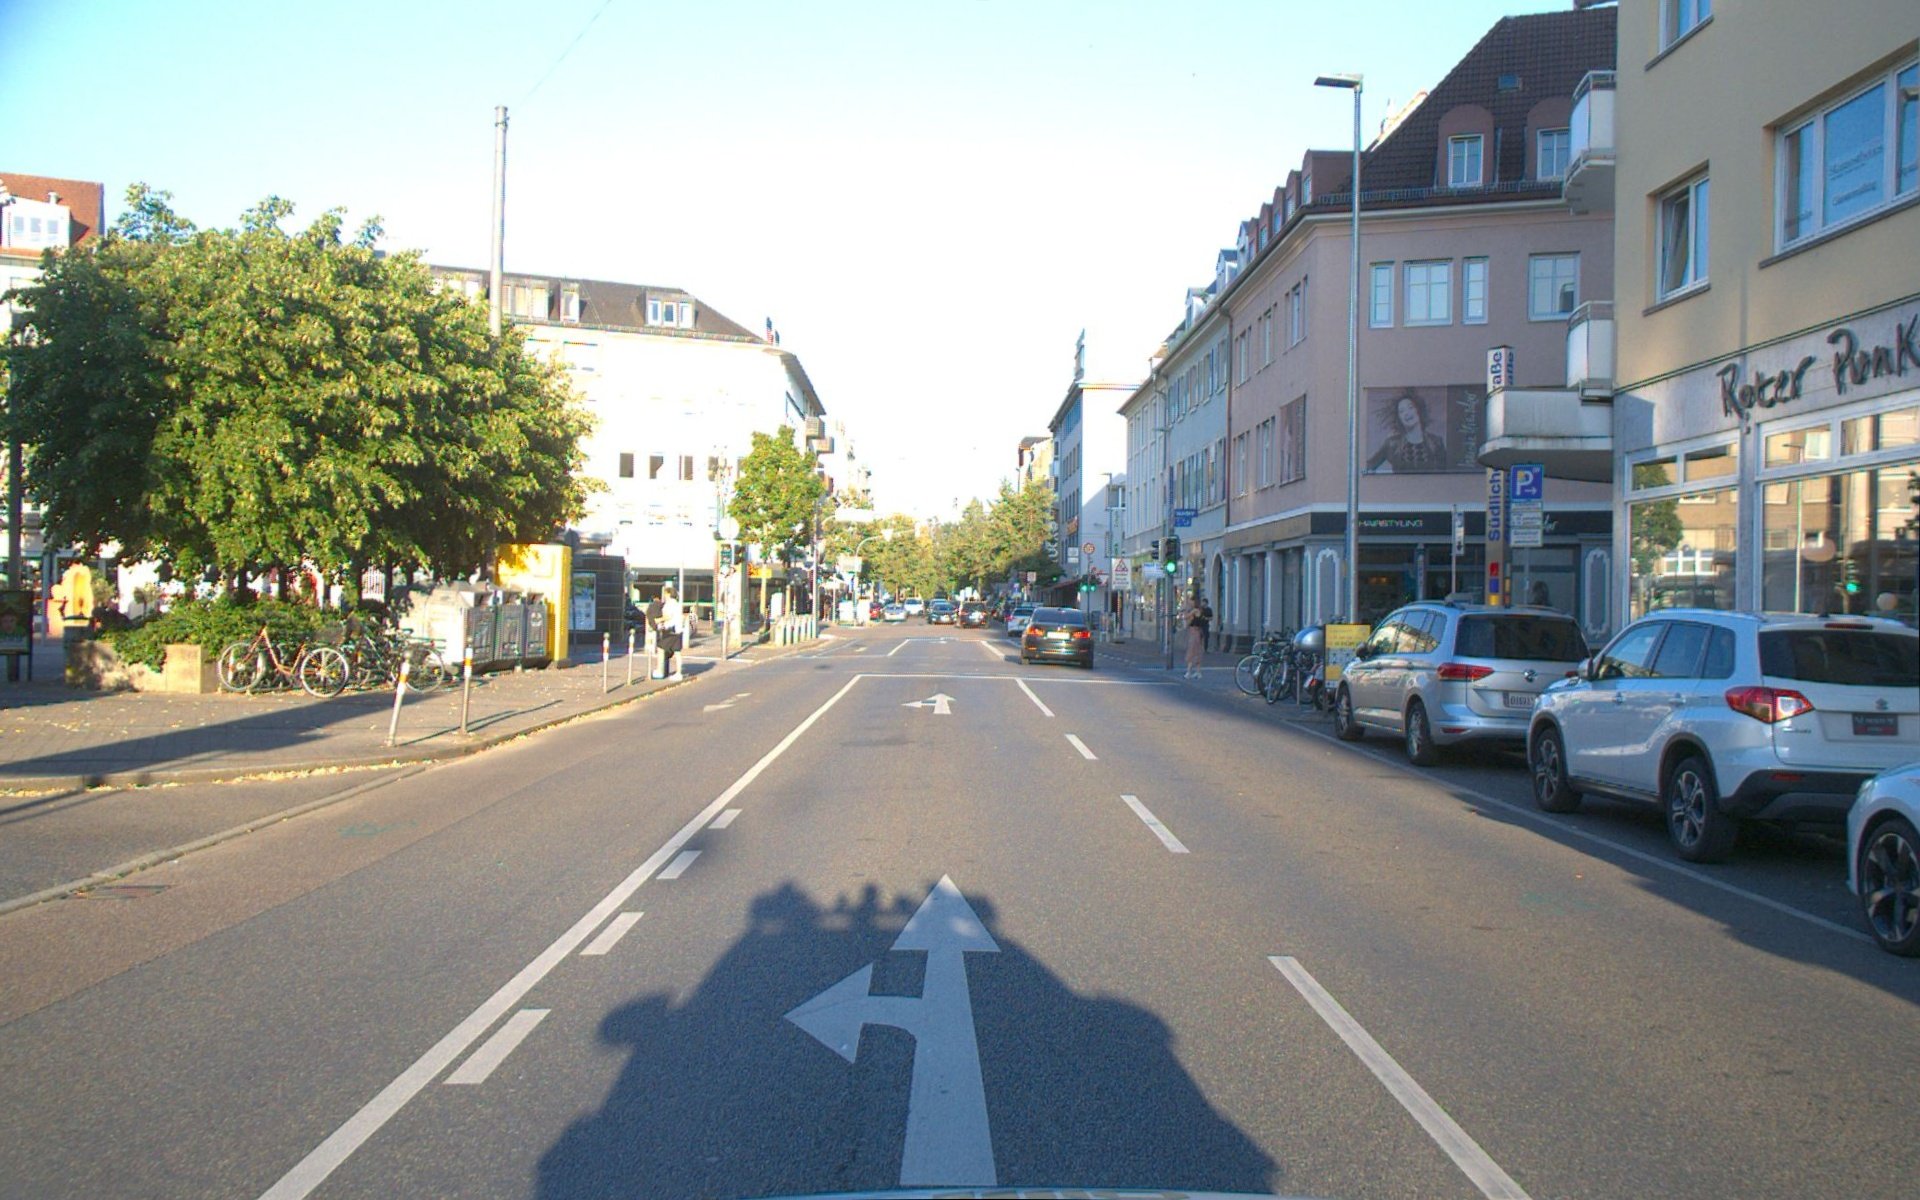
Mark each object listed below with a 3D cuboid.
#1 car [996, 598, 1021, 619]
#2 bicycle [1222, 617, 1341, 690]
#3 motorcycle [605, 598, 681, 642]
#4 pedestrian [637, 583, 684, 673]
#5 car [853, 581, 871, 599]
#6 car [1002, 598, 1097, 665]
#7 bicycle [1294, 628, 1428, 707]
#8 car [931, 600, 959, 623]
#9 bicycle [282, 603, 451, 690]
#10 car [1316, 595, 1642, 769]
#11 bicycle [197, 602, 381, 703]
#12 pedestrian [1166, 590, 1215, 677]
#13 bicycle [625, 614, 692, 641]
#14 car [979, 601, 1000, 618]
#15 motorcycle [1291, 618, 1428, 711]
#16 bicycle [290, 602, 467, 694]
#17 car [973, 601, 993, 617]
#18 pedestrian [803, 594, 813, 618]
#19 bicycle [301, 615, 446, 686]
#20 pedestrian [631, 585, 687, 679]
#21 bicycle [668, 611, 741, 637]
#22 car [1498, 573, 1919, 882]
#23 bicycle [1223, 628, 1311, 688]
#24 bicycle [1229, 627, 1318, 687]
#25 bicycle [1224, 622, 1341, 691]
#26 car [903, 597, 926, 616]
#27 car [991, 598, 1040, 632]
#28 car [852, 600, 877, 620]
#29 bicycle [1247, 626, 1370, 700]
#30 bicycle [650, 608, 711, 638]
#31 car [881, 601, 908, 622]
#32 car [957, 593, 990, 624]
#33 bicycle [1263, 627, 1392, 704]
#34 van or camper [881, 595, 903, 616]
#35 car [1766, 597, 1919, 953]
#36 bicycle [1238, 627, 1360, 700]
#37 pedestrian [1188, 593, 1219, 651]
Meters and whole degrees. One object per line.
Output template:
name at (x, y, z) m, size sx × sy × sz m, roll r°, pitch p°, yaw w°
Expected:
car at (3.945, 0.682, 135.254) m, size 1.953 × 1.645 × 4.000 m, roll 1°, pitch 0°, yaw 0°
bicycle at (5.428, 0.897, 27.948) m, size 1.847 × 1.188 × 0.722 m, roll 0°, pitch 0°, yaw -4°
motorcycle at (-10.809, 0.668, 56.385) m, size 2.364 × 1.451 × 1.112 m, roll 1°, pitch 0°, yaw -2°
pedestrian at (-5.903, 0.548, 32.553) m, size 0.866 × 1.750 × 0.713 m, roll 1°, pitch 0°, yaw -12°
car at (-11.287, -1.155, 190.825) m, size 1.790 × 2.049 × 3.676 m, roll 1°, pitch 0°, yaw 1°
car at (2.153, 0.743, 40.906) m, size 1.851 × 1.518 × 4.201 m, roll 1°, pitch 0°, yaw -4°
bicycle at (5.931, 0.994, 24.510) m, size 1.847 × 1.132 × 0.593 m, roll 0°, pitch 0°, yaw -4°
car at (-1.042, 0.813, 116.339) m, size 1.846 × 1.512 × 4.000 m, roll 1°, pitch 0°, yaw 1°
bicycle at (-9.080, 0.710, 25.342) m, size 2.382 × 1.259 × 0.462 m, roll 1°, pitch 0°, yaw -3°
car at (5.491, 0.787, 18.241) m, size 1.953 × 1.641 × 4.802 m, roll 1°, pitch 0°, yaw -2°
bicycle at (-9.396, 0.713, 23.145) m, size 2.451 × 1.306 × 0.816 m, roll 1°, pitch 0°, yaw 20°
pedestrian at (4.759, 0.683, 34.189) m, size 0.779 × 1.750 × 0.810 m, roll 1°, pitch 0°, yaw -8°
bicycle at (-10.839, 0.999, 59.536) m, size 2.281 × 0.935 × 0.700 m, roll 1°, pitch 0°, yaw -3°
car at (2.916, 0.965, 163.014) m, size 1.745 × 1.624 × 3.632 m, roll 1°, pitch 0°, yaw -4°
motorcycle at (5.690, 0.911, 23.618) m, size 1.776 × 1.285 × 0.715 m, roll 0°, pitch 0°, yaw -3°
bicycle at (-8.654, 0.713, 24.666) m, size 2.382 × 1.259 × 0.517 m, roll 2°, pitch 0°, yaw -3°
car at (2.435, 0.935, 175.822) m, size 1.856 × 1.624 × 3.997 m, roll 1°, pitch 0°, yaw -4°
pedestrian at (-11.289, 0.422, 122.753) m, size 0.590 × 1.751 × 0.575 m, roll 1°, pitch 0°, yaw -15°
bicycle at (-9.177, 0.792, 25.927) m, size 2.002 × 0.988 × 0.636 m, roll 3°, pitch 0°, yaw -3°
pedestrian at (-5.672, 0.597, 31.156) m, size 0.858 × 1.750 × 0.753 m, roll 1°, pitch 0°, yaw -25°
bicycle at (-10.605, 0.989, 68.682) m, size 2.881 × 1.040 × 0.843 m, roll 1°, pitch 0°, yaw 2°
car at (5.586, 0.730, 12.042) m, size 1.830 × 1.793 × 4.408 m, roll 1°, pitch 1°, yaw -1°
bicycle at (5.541, 1.050, 29.849) m, size 1.470 × 1.033 × 0.512 m, roll 1°, pitch 0°, yaw -3°
bicycle at (5.552, 1.009, 29.361) m, size 1.470 × 1.044 × 0.512 m, roll 0°, pitch 0°, yaw -5°
bicycle at (5.599, 0.978, 28.757) m, size 1.847 × 1.132 × 0.761 m, roll 1°, pitch 0°, yaw -4°
car at (-4.268, 0.608, 155.764) m, size 1.952 × 1.780 × 4.000 m, roll 1°, pitch 0°, yaw 1°
car at (2.779, 0.726, 83.706) m, size 2.286 × 1.632 × 3.893 m, roll 1°, pitch 0°, yaw 0°
car at (-8.298, 0.854, 143.862) m, size 1.855 × 1.624 × 4.000 m, roll 1°, pitch 0°, yaw 1°
bicycle at (5.566, 1.007, 26.457) m, size 1.847 × 1.132 × 0.521 m, roll 1°, pitch 0°, yaw -4°
bicycle at (-11.228, 0.912, 66.452) m, size 2.275 × 1.151 × 0.800 m, roll 1°, pitch 0°, yaw 1°
car at (-5.187, 0.892, 131.382) m, size 1.855 × 1.624 × 4.000 m, roll 1°, pitch 0°, yaw 1°
car at (0.788, 0.515, 101.073) m, size 1.953 × 1.780 × 4.000 m, roll 1°, pitch 0°, yaw 0°
bicycle at (5.681, 1.014, 25.625) m, size 1.847 × 1.132 × 0.593 m, roll 1°, pitch -2°, yaw -4°
van or camper at (-8.327, 0.705, 201.752) m, size 2.424 × 2.447 × 3.996 m, roll 1°, pitch 0°, yaw -4°
car at (5.312, 0.839, 6.422) m, size 1.974 × 1.570 × 4.870 m, roll 1°, pitch 1°, yaw 0°
bicycle at (5.535, 1.036, 27.065) m, size 1.846 × 1.132 × 0.601 m, roll 1°, pitch 0°, yaw -4°
pedestrian at (7.753, 0.683, 52.679) m, size 0.742 × 1.808 × 1.047 m, roll 1°, pitch 0°, yaw -5°
